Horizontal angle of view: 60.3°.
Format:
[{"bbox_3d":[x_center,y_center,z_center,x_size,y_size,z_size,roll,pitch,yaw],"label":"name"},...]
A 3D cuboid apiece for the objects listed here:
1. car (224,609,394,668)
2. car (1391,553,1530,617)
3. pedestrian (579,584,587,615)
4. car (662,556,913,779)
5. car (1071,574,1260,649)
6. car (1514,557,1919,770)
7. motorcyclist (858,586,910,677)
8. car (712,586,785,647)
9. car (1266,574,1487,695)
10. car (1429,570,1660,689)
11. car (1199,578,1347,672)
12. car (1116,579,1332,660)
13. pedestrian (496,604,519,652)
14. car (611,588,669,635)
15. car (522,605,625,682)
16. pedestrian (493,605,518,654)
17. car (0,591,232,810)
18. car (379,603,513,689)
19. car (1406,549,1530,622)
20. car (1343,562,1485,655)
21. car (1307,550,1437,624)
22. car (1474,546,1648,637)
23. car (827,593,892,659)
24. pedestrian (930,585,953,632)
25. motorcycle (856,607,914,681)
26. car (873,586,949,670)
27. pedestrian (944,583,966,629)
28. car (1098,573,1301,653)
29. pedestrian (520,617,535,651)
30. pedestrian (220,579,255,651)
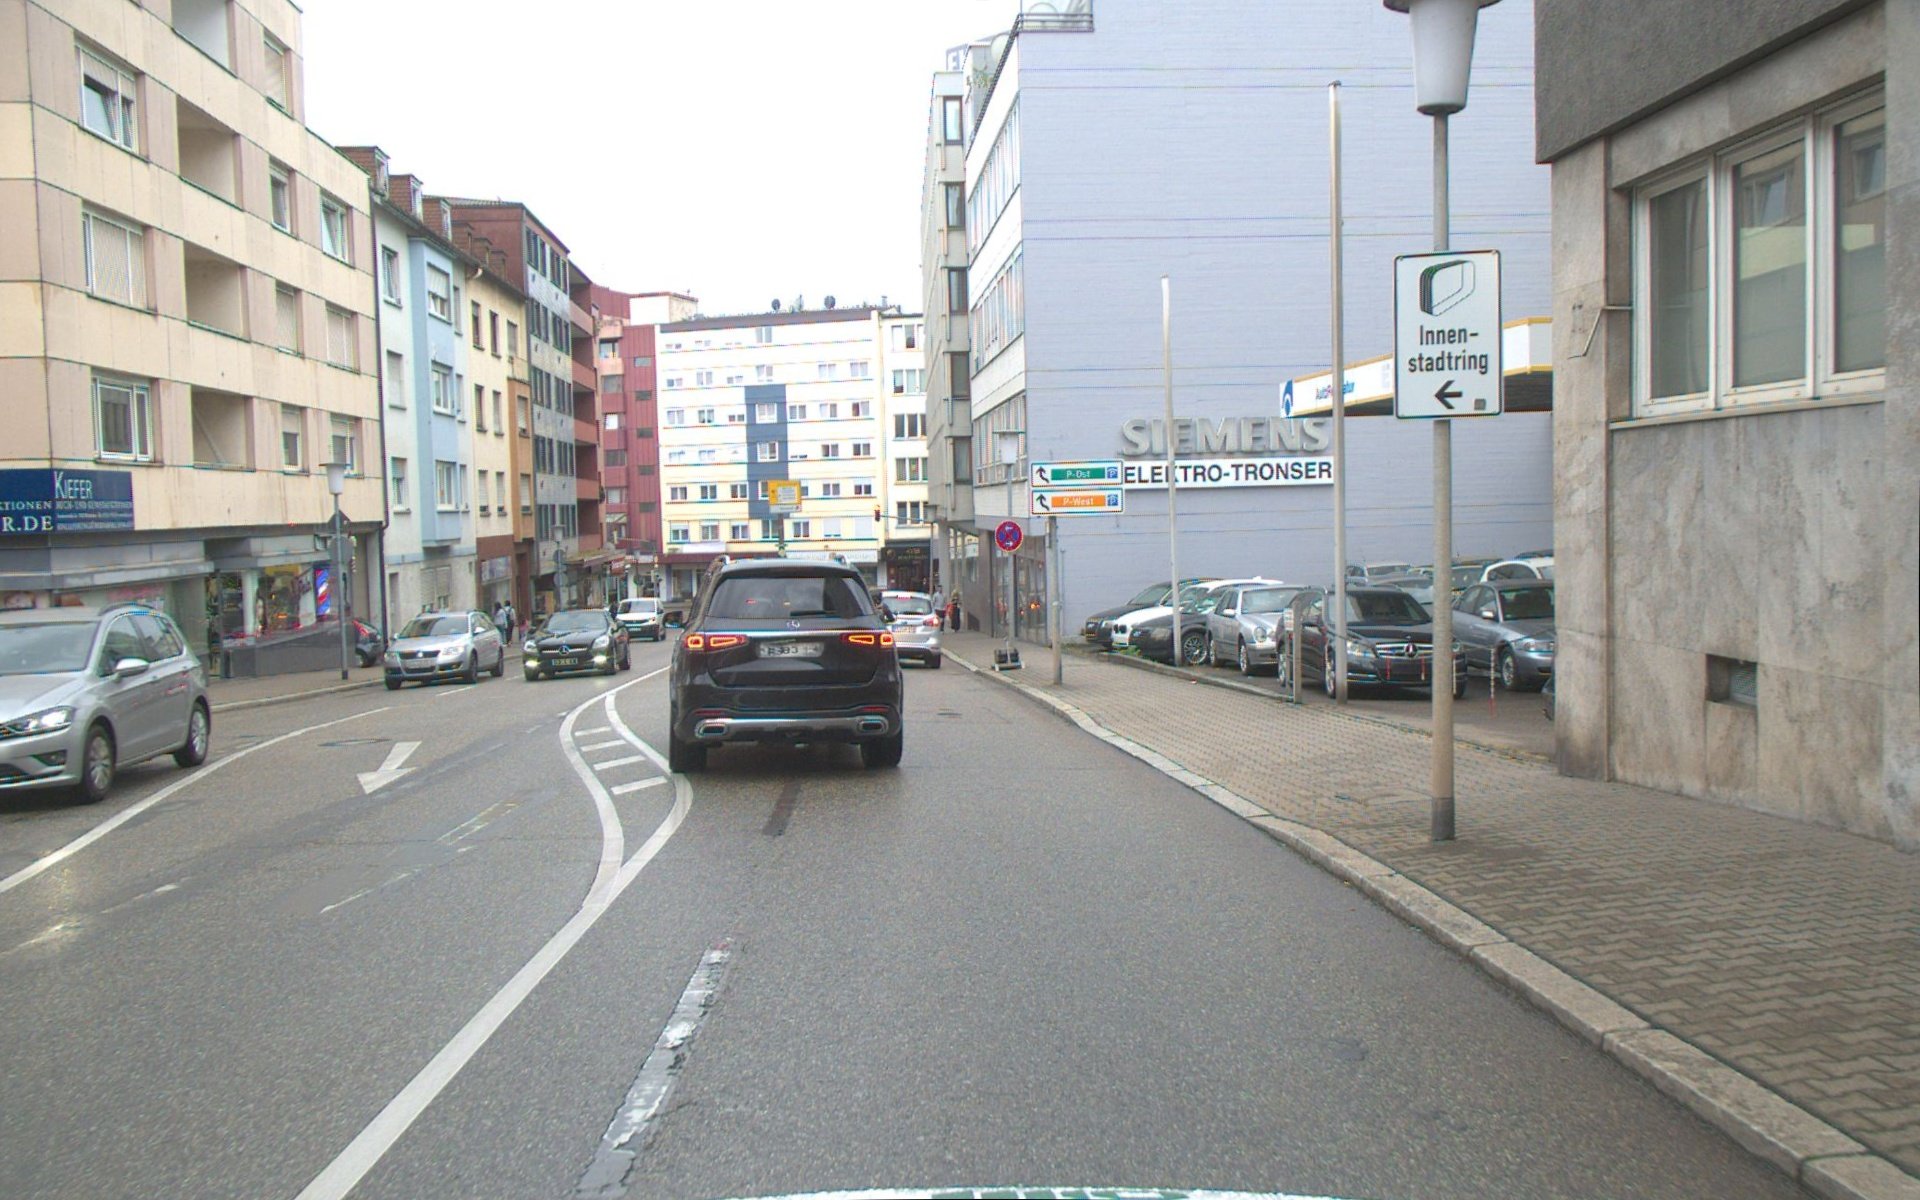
[{"bbox_3d":[-17.565,1.033,44.747,3.910,1.525,1.797,-1,-1,-6],"label":"car"},{"bbox_3d":[10.240,-0.275,34.046,1.423,1.223,3.385,0,-1,-9],"label":"car"},{"bbox_3d":[-18.875,-0.016,82.802,0.311,1.499,0.339,-1,4,1],"label":"pedestrian"},{"bbox_3d":[-1.620,0.530,15.589,1.982,1.770,4.741,0,0,-6],"label":"car"},{"bbox_3d":[4.682,0.277,37.739,3.933,1.625,1.786,0,-1,-23],"label":"car"},{"bbox_3d":[6.996,0.497,13.353,4.398,1.539,1.887,1,0,0],"label":"car"},{"bbox_3d":[-1.367,0.569,29.636,0.850,1.587,0.762,-1,-1,-7],"label":"motorcyclist"},{"bbox_3d":[-5.669,0.412,44.650,1.795,1.487,4.373,-2,0,-6],"label":"car"},{"bbox_3d":[5.605,0.417,22.836,1.761,1.503,4.483,0,0,-2],"label":"car"},{"bbox_3d":[8.107,0.360,23.401,1.759,1.503,4.486,-1,0,1],"label":"car"},{"bbox_3d":[5.309,0.387,28.519,1.535,1.503,4.066,0,0,-4],"label":"car"},{"bbox_3d":[5.210,0.396,32.655,3.933,1.521,1.721,0,-1,-23],"label":"car"},{"bbox_3d":[-16.366,1.014,59.849,0.659,1.680,0.605,-1,4,-7],"label":"pedestrian"},{"bbox_3d":[-13.244,0.433,68.692,1.833,1.783,4.394,-4,1,-5],"label":"car"},{"bbox_3d":[-7.709,0.832,33.280,1.683,1.340,4.135,-2,1,-9],"label":"car"},{"bbox_3d":[-16.231,1.043,59.048,0.725,1.680,0.605,-1,4,-7],"label":"pedestrian"},{"bbox_3d":[-7.910,0.823,14.434,1.683,1.614,4.136,-4,0,-8],"label":"car"},{"bbox_3d":[-10.721,0.930,34.807,1.711,1.565,4.637,-4,0,-6],"label":"car"},{"bbox_3d":[11.842,-0.305,38.746,1.423,1.625,3.385,0,-1,-9],"label":"car"},{"bbox_3d":[7.910,0.177,29.083,1.496,1.539,3.391,0,-1,-2],"label":"car"},{"bbox_3d":[9.621,-0.257,38.905,1.614,1.625,3.859,0,-1,-9],"label":"car"},{"bbox_3d":[10.800,-0.110,29.962,1.522,1.539,3.515,0,-1,-7],"label":"car"},{"bbox_3d":[-2.601,0.642,42.397,1.493,1.575,3.103,-1,1,-6],"label":"car"},{"bbox_3d":[-0.665,0.315,59.725,0.754,1.640,0.703,-1,2,-7],"label":"pedestrian"},{"bbox_3d":[-1.365,0.756,29.611,0.850,1.207,2.558,-1,1,-7],"label":"motorcycle"},{"bbox_3d":[-1.093,0.561,35.724,1.389,1.679,3.103,-1,1,-6],"label":"car"},{"bbox_3d":[-0.190,0.220,60.515,0.704,1.640,0.610,-1,2,-7],"label":"pedestrian"},{"bbox_3d":[5.093,0.284,35.184,3.933,1.625,1.786,0,-1,-23],"label":"car"},{"bbox_3d":[-15.677,1.240,59.998,0.417,1.182,0.586,-1,4,-7],"label":"pedestrian"},{"bbox_3d":[-18.266,0.378,41.814,0.588,1.759,0.571,-1,4,-7],"label":"pedestrian"}]
